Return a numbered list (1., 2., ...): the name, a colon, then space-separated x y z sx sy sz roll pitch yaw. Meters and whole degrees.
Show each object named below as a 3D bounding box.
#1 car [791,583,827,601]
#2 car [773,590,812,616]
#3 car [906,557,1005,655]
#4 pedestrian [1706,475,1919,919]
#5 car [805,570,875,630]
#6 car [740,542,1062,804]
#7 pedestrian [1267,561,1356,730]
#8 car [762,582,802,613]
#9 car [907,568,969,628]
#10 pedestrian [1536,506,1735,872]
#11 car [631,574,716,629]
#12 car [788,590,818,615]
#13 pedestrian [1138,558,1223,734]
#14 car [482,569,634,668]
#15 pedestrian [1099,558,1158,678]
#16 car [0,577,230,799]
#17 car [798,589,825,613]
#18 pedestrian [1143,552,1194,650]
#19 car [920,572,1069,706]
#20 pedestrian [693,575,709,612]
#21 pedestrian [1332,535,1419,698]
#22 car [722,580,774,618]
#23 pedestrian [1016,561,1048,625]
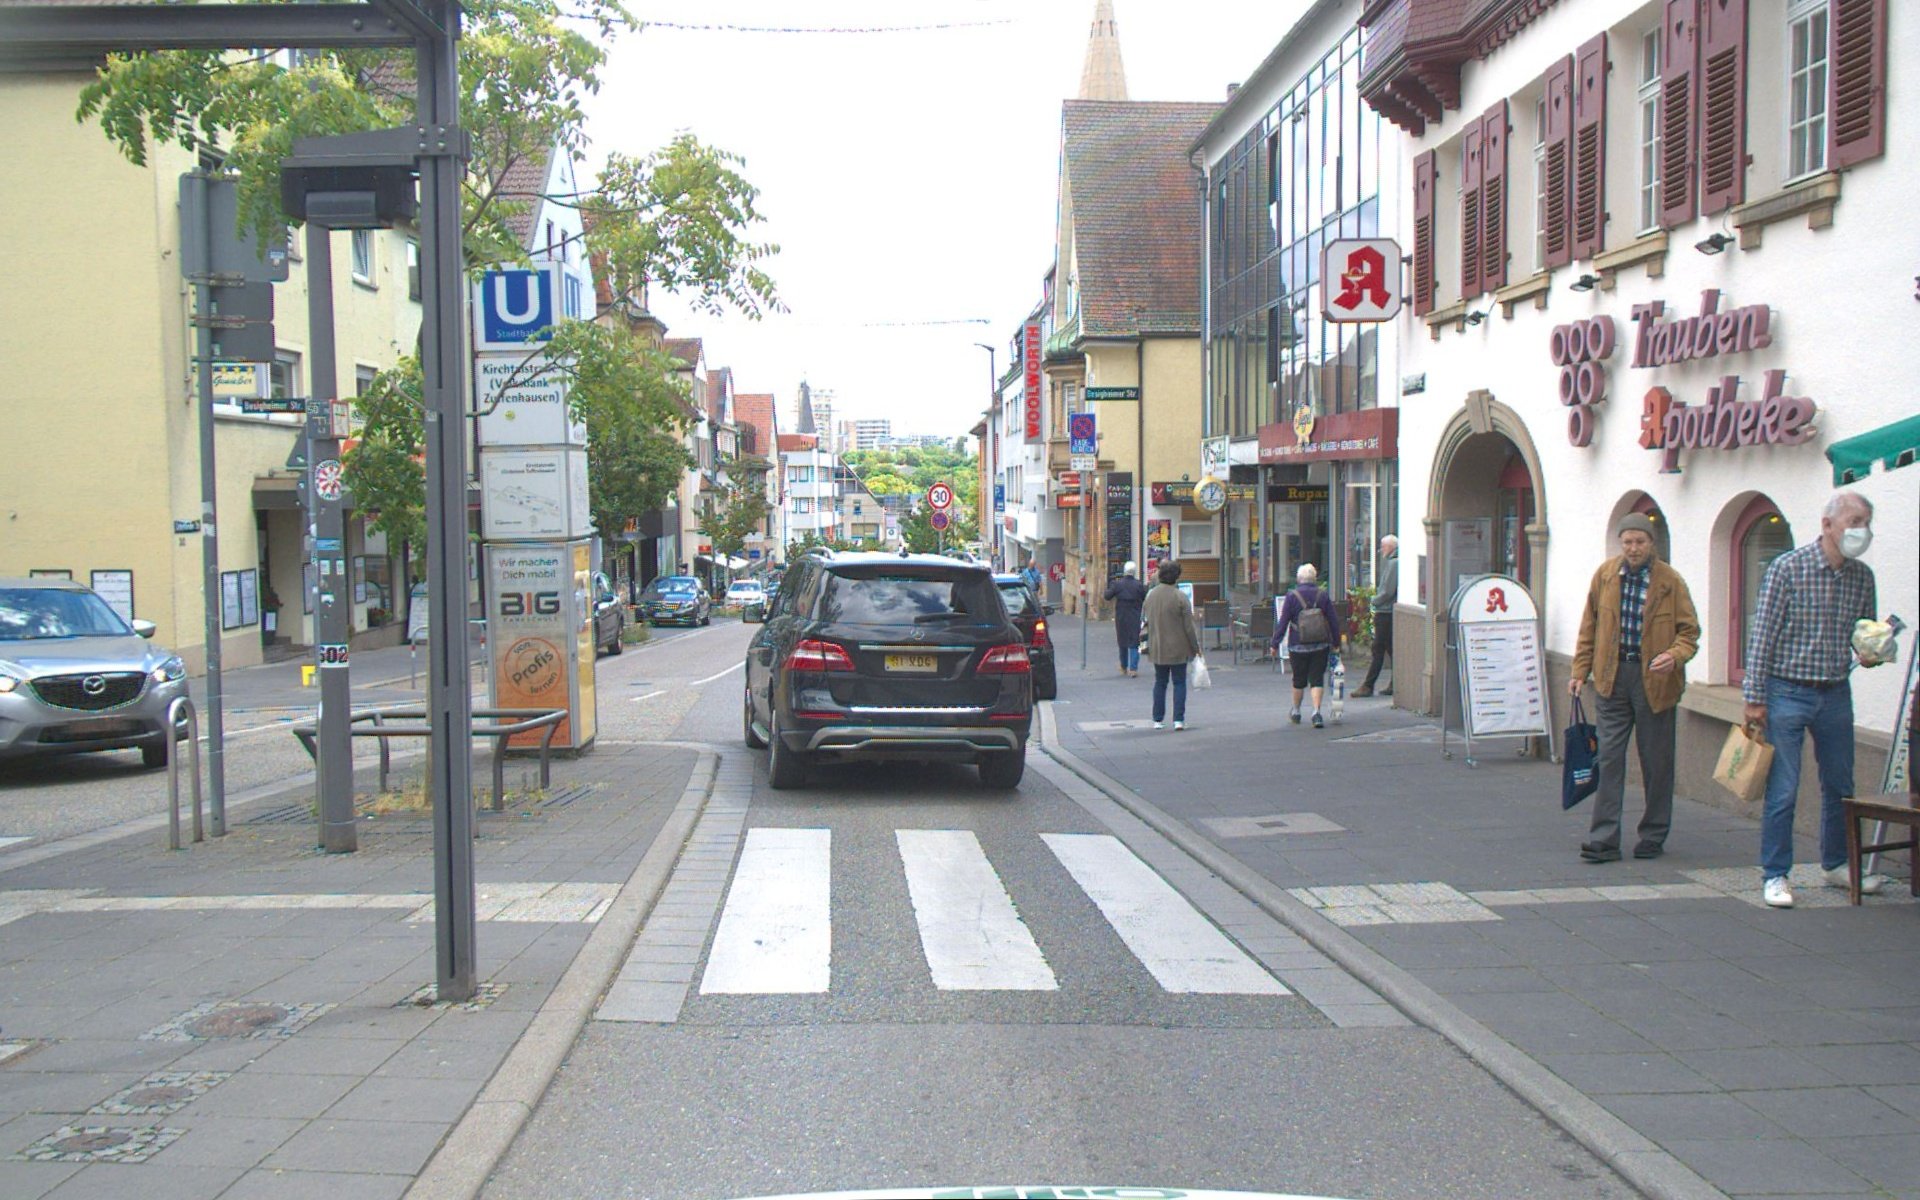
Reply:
1. car: -16.916 -0.924 185.598 3.910 1.780 1.998 -3 0 -6
2. car: -9.816 0.165 97.146 1.887 1.455 4.261 0 0 -1
3. car: -0.018 0.069 33.449 1.838 1.831 4.733 -1 1 2
4. pedestrian: 3.925 0.407 7.547 0.766 1.889 0.699 -1 1 41
5. car: -3.312 -0.022 46.240 1.749 1.567 3.743 -1 1 -2
6. car: -0.658 0.463 13.415 1.909 1.770 4.166 0 1 -12
7. pedestrian: 3.328 0.414 15.720 0.709 1.558 0.808 -1 1 4
8. car: -9.592 -0.122 89.381 1.888 1.649 4.637 1 0 -3
9. car: -0.662 -0.081 48.993 1.713 1.635 3.800 -2 1 -1
10. pedestrian: 3.511 0.446 8.650 0.769 1.833 0.676 -1 0 4
11. car: -8.502 0.002 49.464 1.888 1.518 4.840 1 1 -3
12. car: -10.482 0.154 110.668 1.889 1.523 4.258 1 1 -5
13. pedestrian: 2.167 0.438 16.317 0.756 1.674 0.870 -1 1 4
14. car: -7.718 0.292 32.176 1.966 1.723 4.606 1 1 -2
15. pedestrian: 2.449 0.249 23.961 0.806 1.695 0.802 -1 1 7
16. car: -8.219 0.678 14.501 1.955 1.649 4.284 -2 1 -44
17. car: -10.571 0.058 118.056 1.889 1.623 4.454 1 1 -5
18. pedestrian: 3.788 0.013 30.082 0.845 1.737 0.945 -1 1 4
19. car: 0.383 0.442 22.002 1.767 1.582 3.953 -1 1 -1
20. pedestrian: -10.307 -0.258 65.804 0.480 1.489 0.559 1 0 7
21. pedestrian: 4.705 0.180 18.765 0.758 1.800 0.817 -1 1 0
22. car: -9.225 -0.059 72.125 1.888 1.537 4.260 1 1 -3
23. pedestrian: 2.011 -0.201 46.220 0.780 1.757 1.052 -1 0 -2
